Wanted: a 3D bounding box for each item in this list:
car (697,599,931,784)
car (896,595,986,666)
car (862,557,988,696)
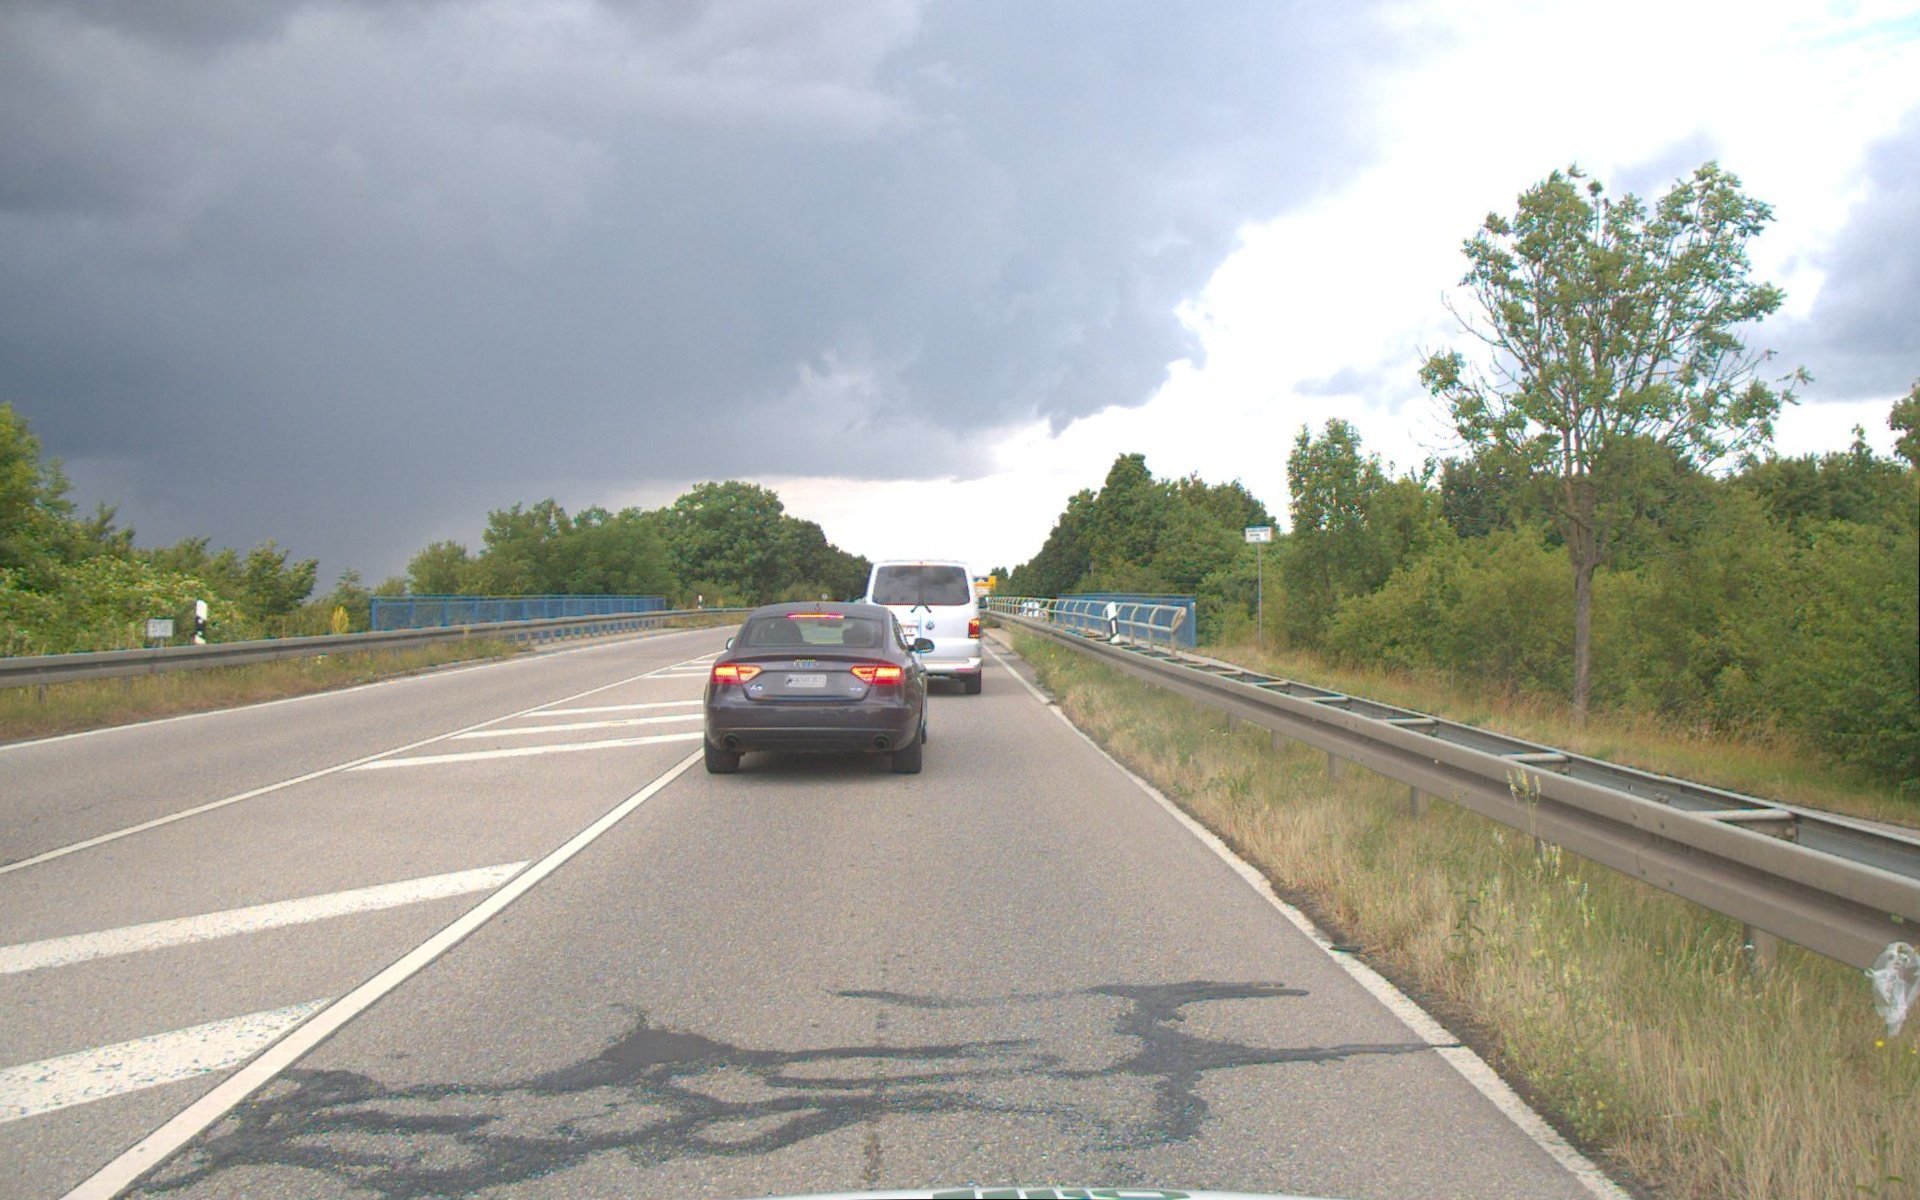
[{"bbox_3d":[-1.166,0.701,14.755,1.784,1.405,4.070,-1,0,-1],"label":"car"},{"bbox_3d":[-0.369,0.601,34.852,1.784,1.405,4.071,0,0,0],"label":"car"},{"bbox_3d":[-0.549,0.378,25.798,1.791,1.969,3.999,-1,0,-1],"label":"car"}]
